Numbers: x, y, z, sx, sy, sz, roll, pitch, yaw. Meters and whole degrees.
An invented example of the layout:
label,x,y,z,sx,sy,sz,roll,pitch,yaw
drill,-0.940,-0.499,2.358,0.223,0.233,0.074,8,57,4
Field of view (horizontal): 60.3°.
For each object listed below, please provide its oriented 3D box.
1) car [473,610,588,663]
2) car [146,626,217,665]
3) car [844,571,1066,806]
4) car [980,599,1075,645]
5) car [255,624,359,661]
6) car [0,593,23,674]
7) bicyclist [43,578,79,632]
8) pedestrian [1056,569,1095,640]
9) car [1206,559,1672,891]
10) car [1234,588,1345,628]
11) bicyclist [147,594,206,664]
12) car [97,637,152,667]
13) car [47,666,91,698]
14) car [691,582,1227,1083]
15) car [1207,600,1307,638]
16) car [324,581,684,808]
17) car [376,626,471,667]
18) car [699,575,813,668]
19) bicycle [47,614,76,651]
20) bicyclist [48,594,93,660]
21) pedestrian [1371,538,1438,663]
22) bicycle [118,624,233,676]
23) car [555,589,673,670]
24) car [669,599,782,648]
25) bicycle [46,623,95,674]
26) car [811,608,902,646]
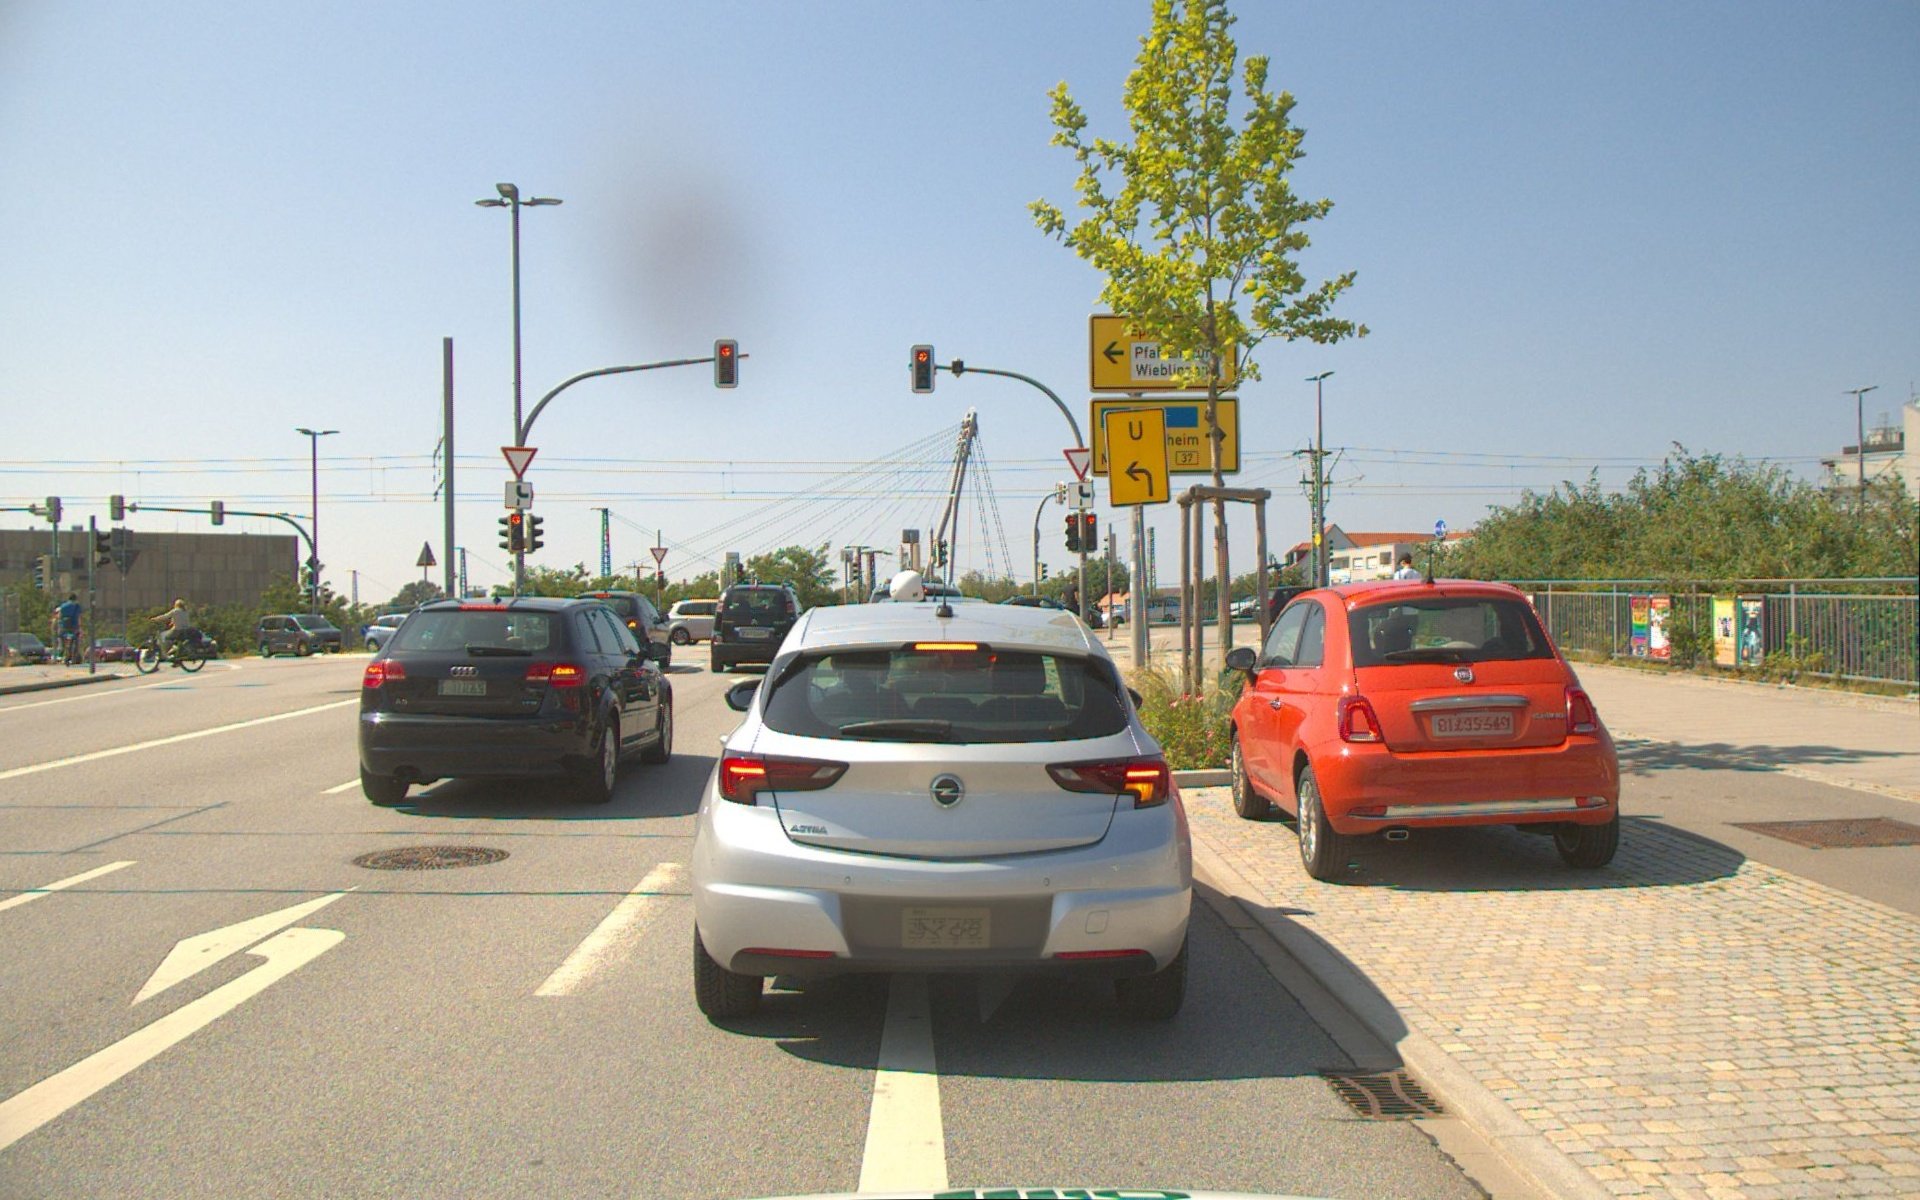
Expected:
label,x,y,z,sx,sy,sz,roll,pitch,yaw
car,-16.904,1.412,65.114,3.903,2.049,2.001,0,-1,17
car,-37.488,2.163,79.585,4.140,1.771,1.706,0,-1,44
car,-0.082,0.681,14.156,1.602,1.703,3.744,1,-1,-2
car,2.550,0.852,63.232,3.438,1.669,1.798,1,-1,-5
car,-28.187,1.808,71.359,4.391,1.481,1.995,1,-1,32
car,-25.728,0.832,43.353,1.656,2.049,3.952,2,-1,-34
bicyclist,-25.893,0.155,47.636,0.832,1.528,0.652,2,-1,-31
pedestrian,3.144,0.122,44.905,0.739,1.896,0.739,0,-1,39
car,2.647,0.579,10.078,1.635,1.566,3.916,-2,1,-1
car,12.334,0.307,61.964,3.707,1.414,1.661,1,-1,-11
bicyclist,-18.157,0.664,38.340,0.926,1.596,0.822,1,-1,0
car,-44.390,2.760,87.844,1.669,1.481,3.940,2,-1,-41
car,-62.226,5.687,115.469,1.980,2.049,3.944,2,-1,-39
car,-0.049,0.728,7.278,1.656,1.546,4.269,0,0,-1
car,13.923,0.886,77.571,4.180,1.703,1.990,1,-1,-18
car,-3.298,0.641,12.759,1.671,1.437,3.999,1,-1,-1
car,-20.108,1.726,62.036,3.079,1.464,1.586,1,-1,22
car,-3.826,0.408,31.598,1.767,1.650,3.915,0,-1,-1
bicycle,-25.901,0.920,47.659,0.597,1.025,2.486,1,-1,-31
bicyclist,-21.740,0.648,40.405,0.853,1.587,0.815,2,-1,-35
pedestrian,6.824,0.011,25.419,0.743,1.862,0.884,1,-1,-1
bicycle,-18.172,1.161,38.329,2.309,1.147,0.677,1,-1,0
car,-6.392,0.534,30.842,1.555,1.419,3.338,0,-1,-1
car,-8.363,0.850,59.285,3.738,1.657,1.856,1,-1,-1
bicycle,-21.788,1.170,40.479,0.720,1.153,2.502,-6,2,-34
car,-4.742,1.240,76.135,4.112,1.674,1.832,1,-1,-3
